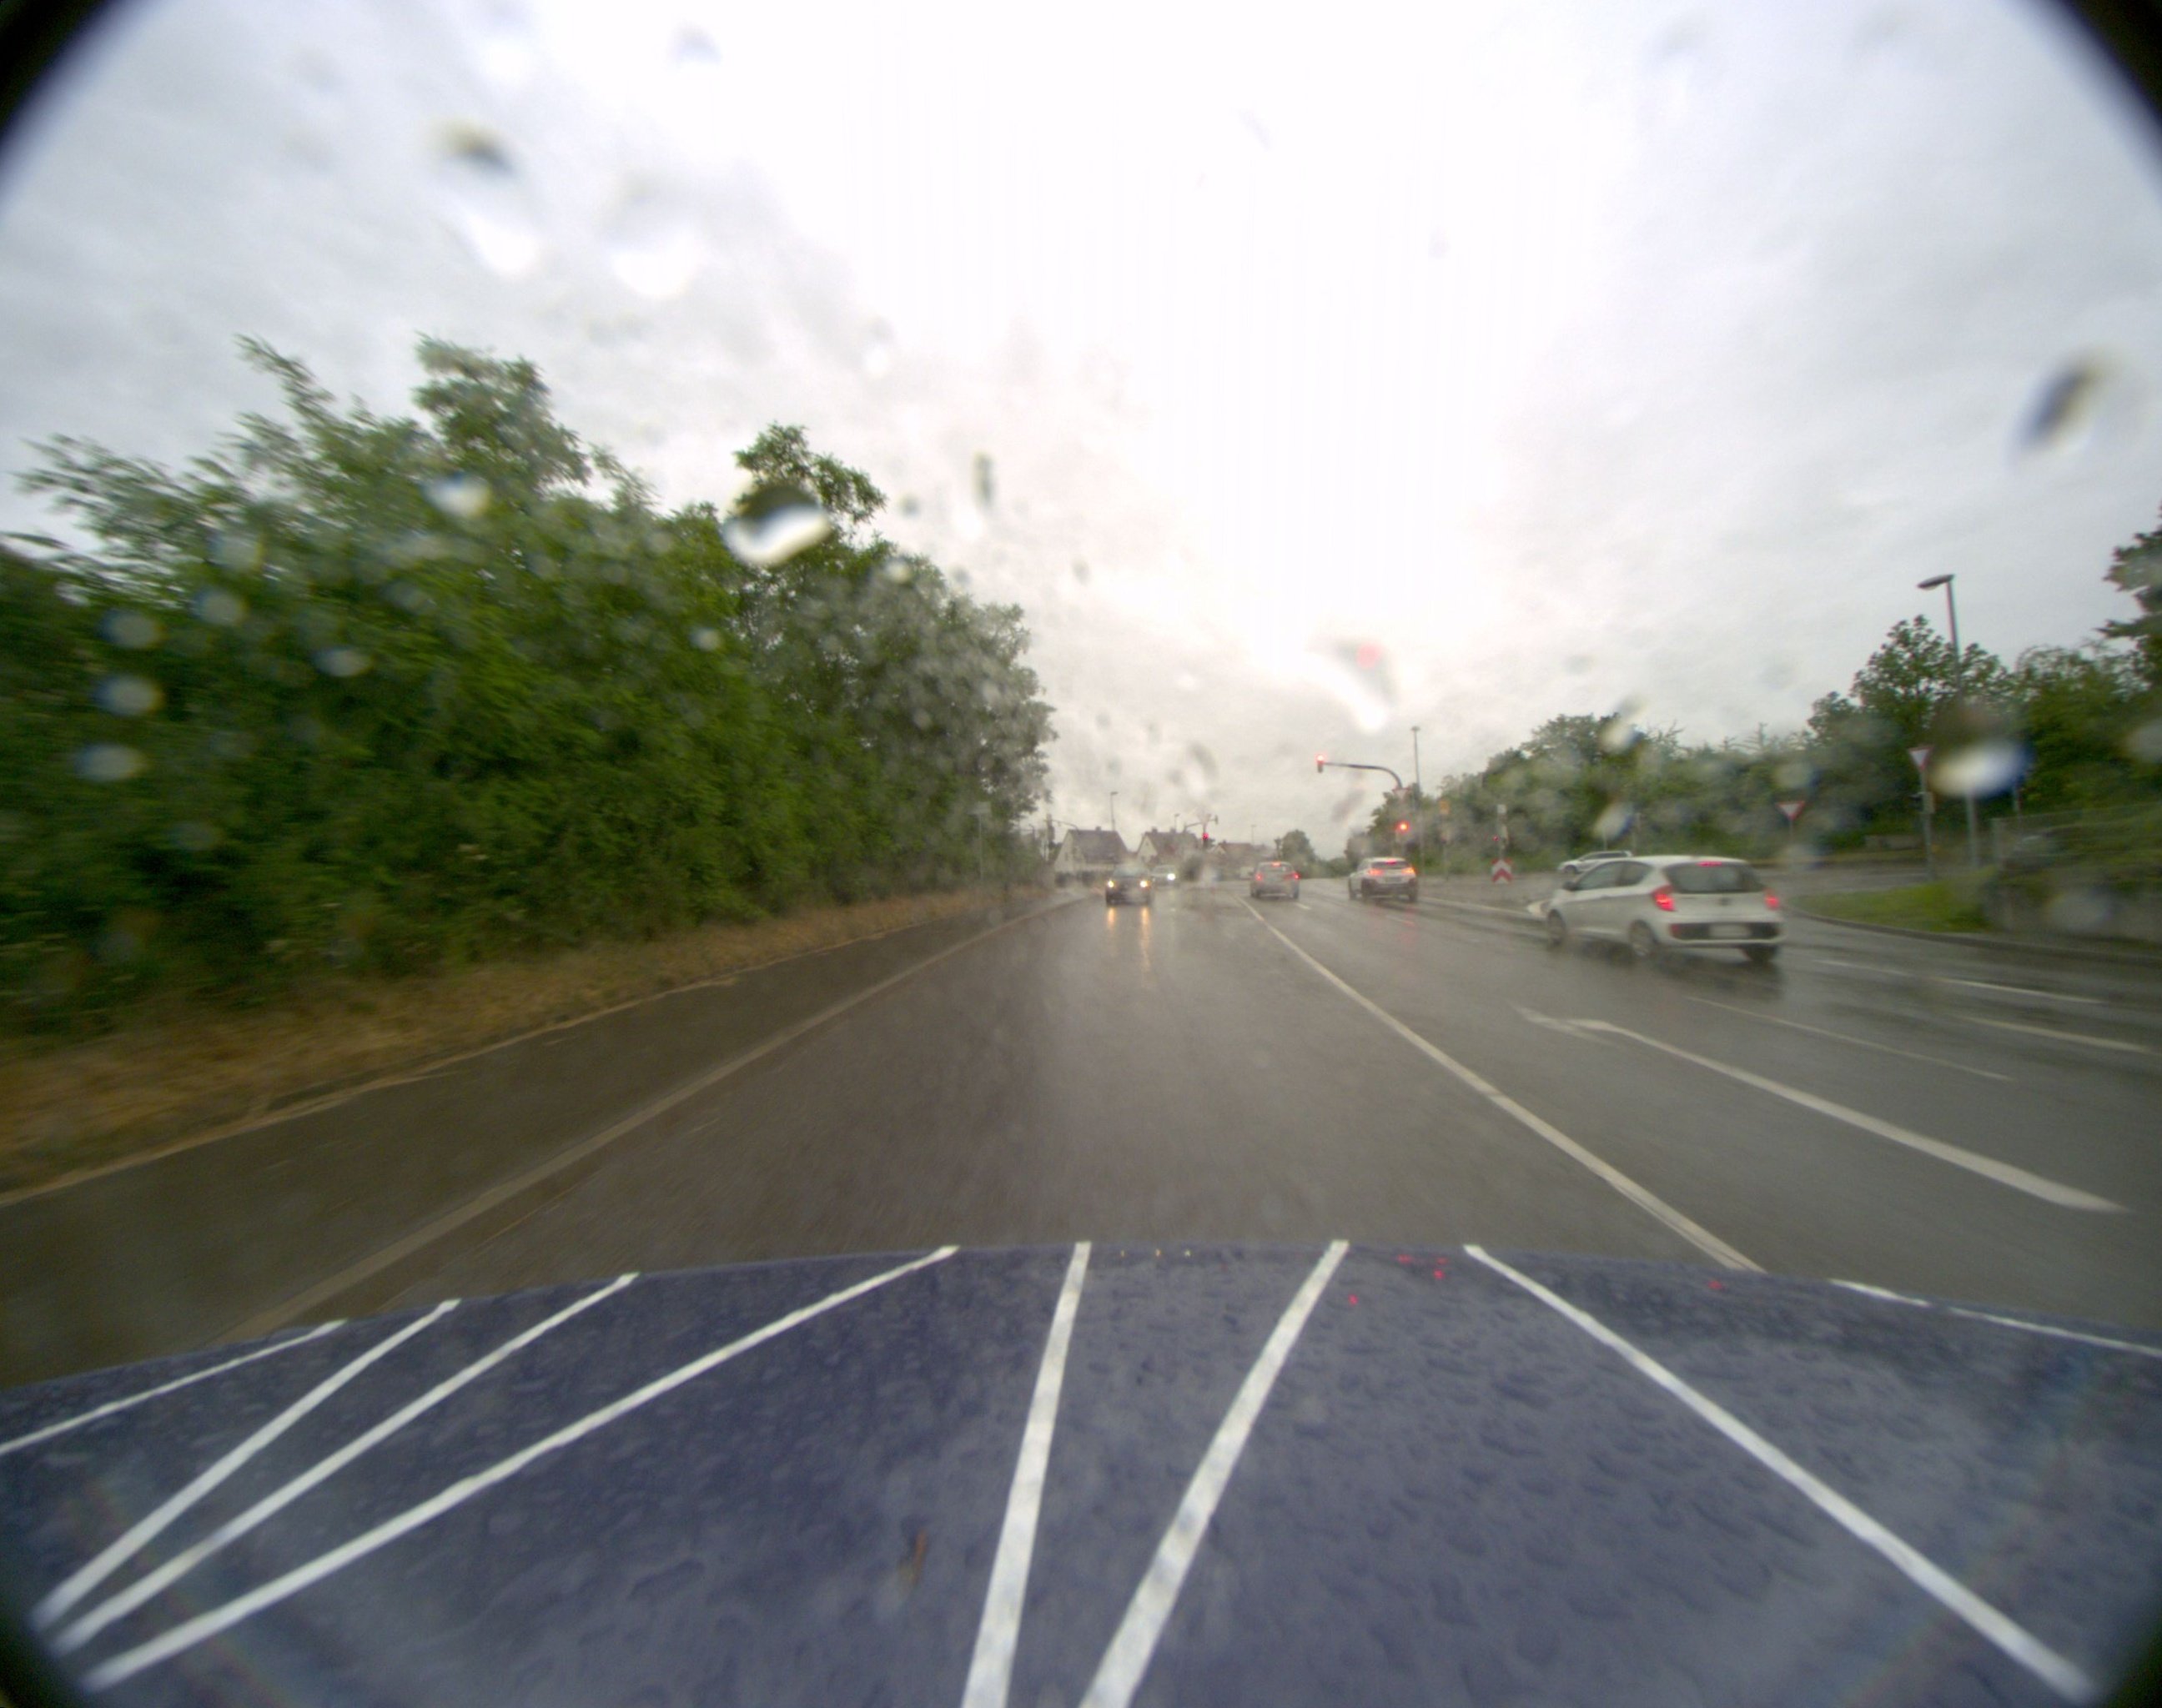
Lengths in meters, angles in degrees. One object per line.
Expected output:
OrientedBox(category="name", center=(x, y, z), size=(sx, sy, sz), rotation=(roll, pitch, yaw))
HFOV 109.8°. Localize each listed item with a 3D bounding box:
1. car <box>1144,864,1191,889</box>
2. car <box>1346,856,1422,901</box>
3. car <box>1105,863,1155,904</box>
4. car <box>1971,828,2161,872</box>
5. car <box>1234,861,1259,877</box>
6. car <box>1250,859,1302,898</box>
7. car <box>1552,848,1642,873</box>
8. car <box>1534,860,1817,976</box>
OrientedBox(category="car", center=(5.597, 1.424, 48.725), size=(1.895, 1.473, 4.008), rotation=(-3, -2, 23))
OrientedBox(category="car", center=(11.149, 0.872, 28.239), size=(1.723, 1.485, 4.003), rotation=(-2, -1, 9))
OrientedBox(category="car", center=(1.983, 1.142, 29.775), size=(1.665, 1.409, 3.936), rotation=(-2, -2, 7))
OrientedBox(category="car", center=(33.637, -0.160, 25.875), size=(3.994, 1.448, 1.905), rotation=(0, 2, 10))
OrientedBox(category="car", center=(26.464, 2.396, 121.688), size=(4.008, 2.336, 1.650), rotation=(-1, -2, -38))
OrientedBox(category="car", center=(8.039, 0.976, 31.609), size=(1.664, 1.485, 4.003), rotation=(-1, -1, 9))
OrientedBox(category="car", center=(32.990, 0.430, 48.683), size=(4.520, 1.354, 1.766), rotation=(-3, -2, 44))
OrientedBox(category="car", center=(8.678, 0.856, 11.569), size=(1.656, 1.420, 3.796), rotation=(-2, -1, 8))
